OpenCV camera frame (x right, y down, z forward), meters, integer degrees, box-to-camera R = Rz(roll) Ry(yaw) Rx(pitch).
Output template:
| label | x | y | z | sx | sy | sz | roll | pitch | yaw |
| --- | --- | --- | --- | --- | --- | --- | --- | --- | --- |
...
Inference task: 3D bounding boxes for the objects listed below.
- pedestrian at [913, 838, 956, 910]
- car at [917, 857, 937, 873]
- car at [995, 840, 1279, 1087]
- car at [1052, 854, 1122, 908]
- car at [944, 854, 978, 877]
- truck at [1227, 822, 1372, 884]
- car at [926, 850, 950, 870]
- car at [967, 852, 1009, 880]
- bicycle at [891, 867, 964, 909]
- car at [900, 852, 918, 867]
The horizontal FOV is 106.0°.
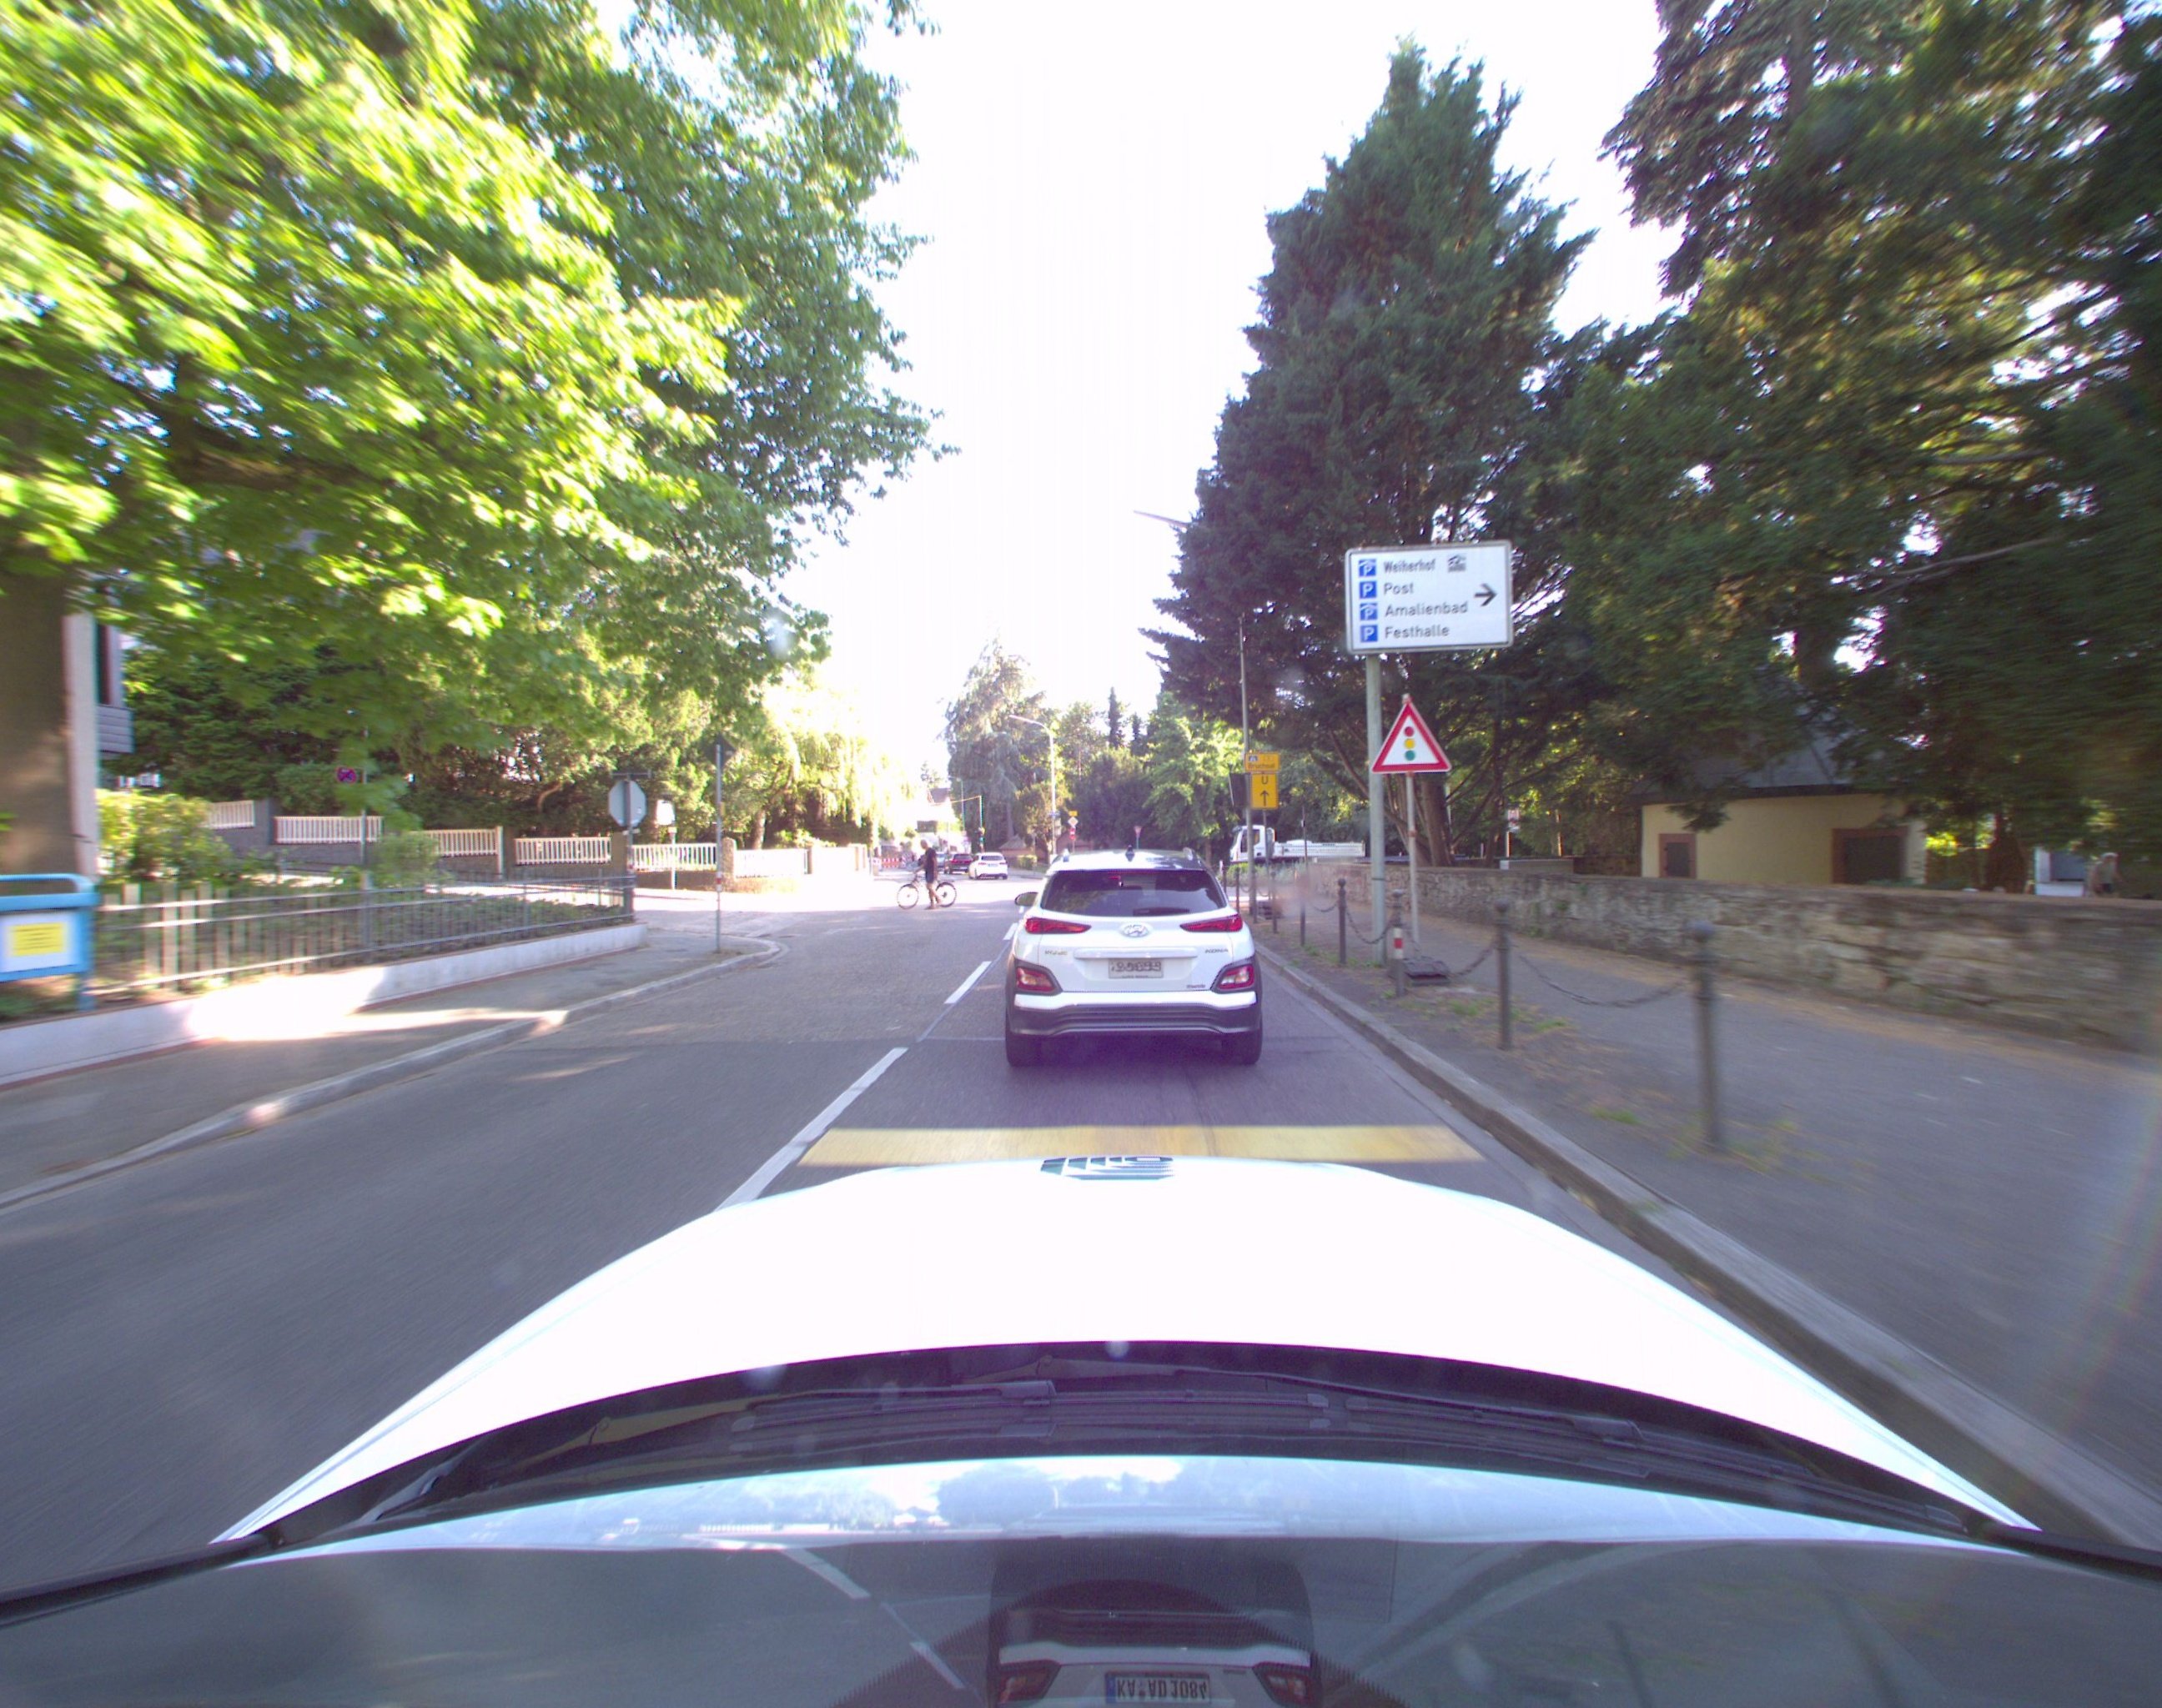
| label | x | y | z | sx | sy | sz | roll | pitch | yaw |
| --- | --- | --- | --- | --- | --- | --- | --- | --- | --- |
| pedestrian | -3.821 | 0.507 | 21.307 | 0.947 | 1.826 | 0.548 | 0 | 0 | -37 |
| car | -16.609 | 1.212 | 87.827 | 1.835 | 1.662 | 3.979 | 0 | 0 | -15 |
| car | 0.418 | 0.693 | 7.228 | 1.813 | 1.574 | 4.001 | 0 | 0 | 1 |
| car | 0.086 | 0.728 | 24.071 | 1.705 | 1.434 | 4.357 | 0 | 0 | -5 |
| car | -8.816 | 0.811 | 59.693 | 1.836 | 1.662 | 3.976 | 0 | 0 | -18 |
| truck | 10.536 | -0.055 | 39.797 | 6.552 | 2.895 | 2.438 | 0 | 0 | 6 |
| car | -13.147 | 0.524 | 74.766 | 1.834 | 1.740 | 3.981 | 0 | 0 | -14 |
| car | -5.430 | 0.677 | 47.192 | 1.809 | 1.537 | 3.978 | 0 | 0 | -16 |
| bicycle | -4.061 | 0.890 | 21.642 | 1.825 | 1.043 | 0.555 | 0 | 1 | -36 |
| car | -20.085 | 0.617 | 95.096 | 1.836 | 1.662 | 3.978 | 0 | 0 | -16 |
